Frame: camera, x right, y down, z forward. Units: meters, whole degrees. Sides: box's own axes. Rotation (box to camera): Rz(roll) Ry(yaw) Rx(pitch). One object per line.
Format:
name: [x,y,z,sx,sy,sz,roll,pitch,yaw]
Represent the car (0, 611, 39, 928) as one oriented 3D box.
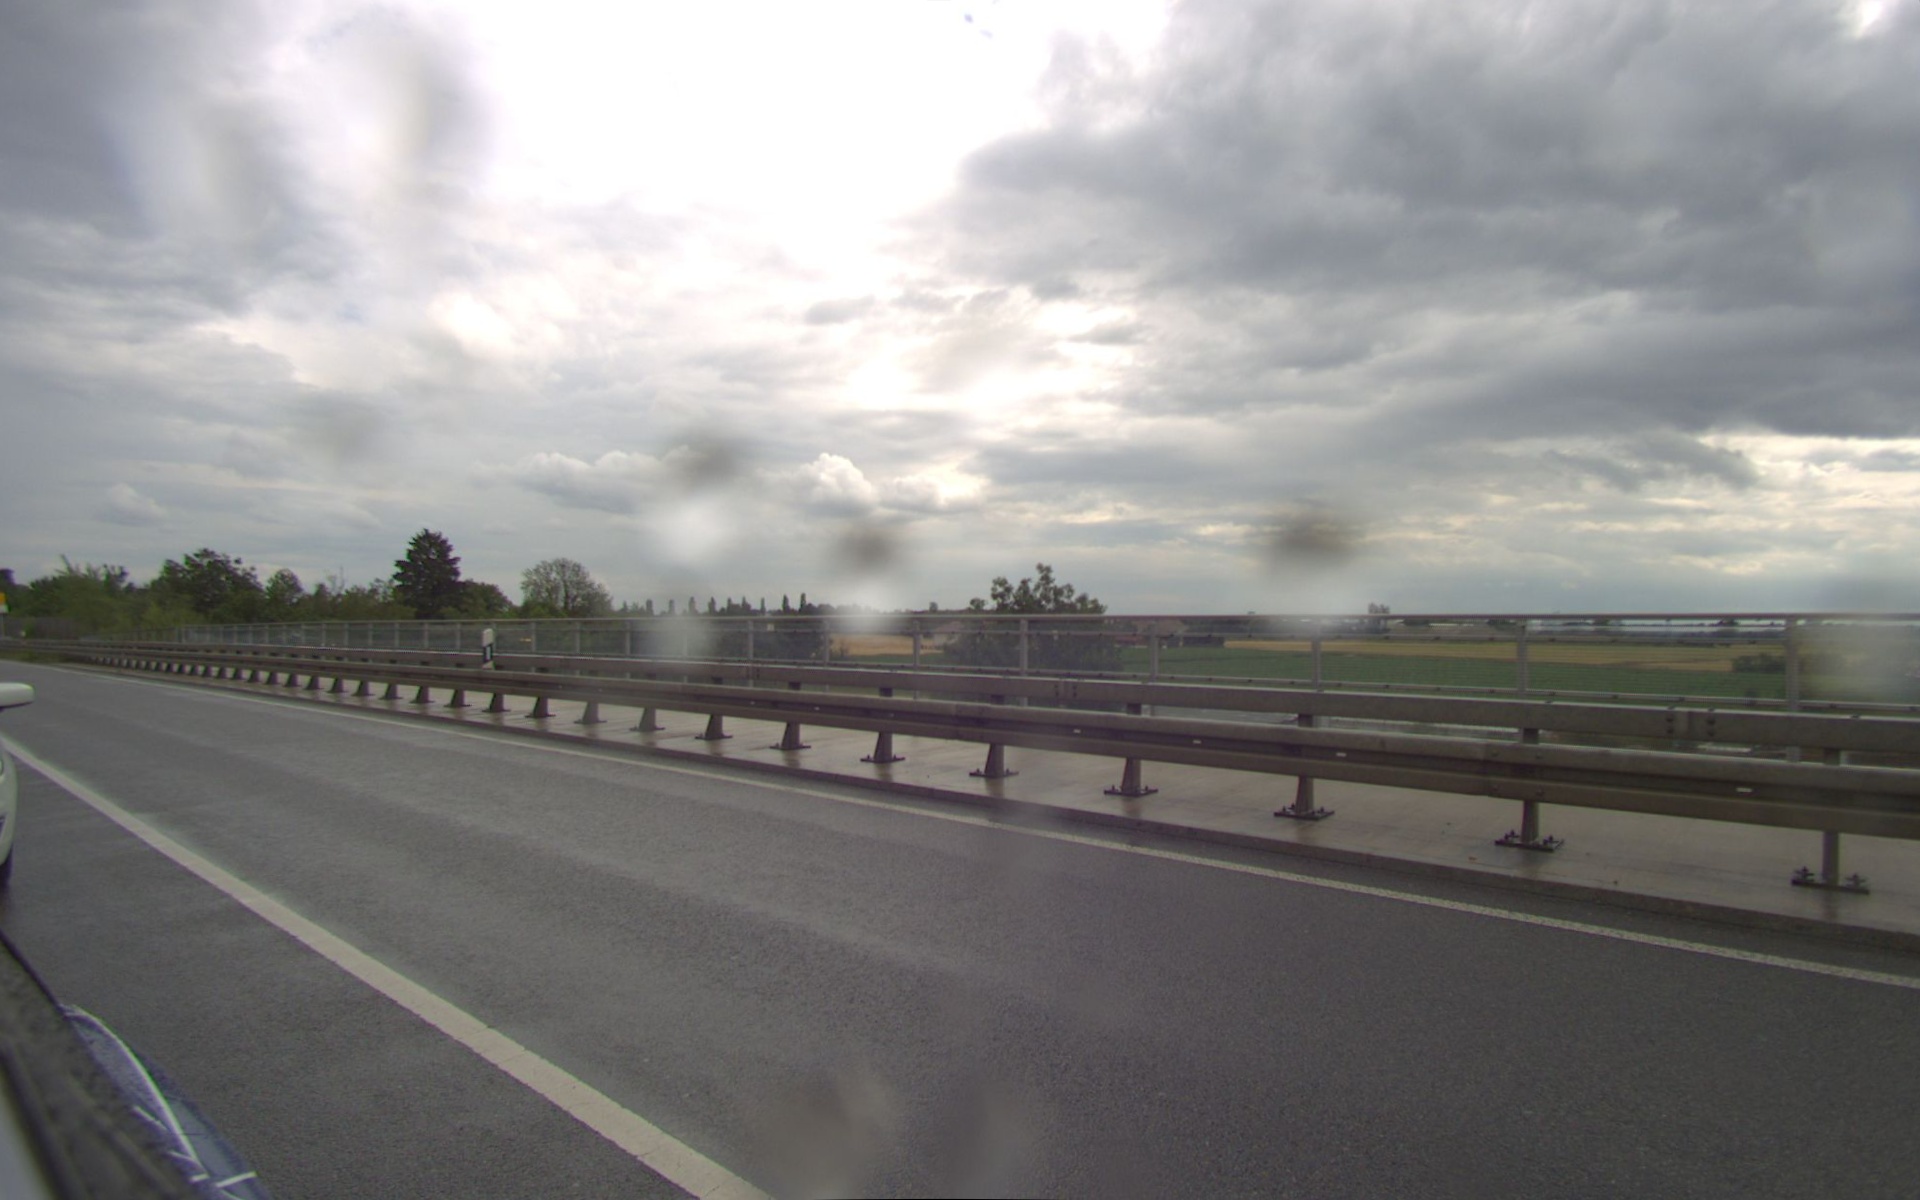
car: [-6.542,0.830,5.601,4.127,1.496,1.653,-1,0,41]
